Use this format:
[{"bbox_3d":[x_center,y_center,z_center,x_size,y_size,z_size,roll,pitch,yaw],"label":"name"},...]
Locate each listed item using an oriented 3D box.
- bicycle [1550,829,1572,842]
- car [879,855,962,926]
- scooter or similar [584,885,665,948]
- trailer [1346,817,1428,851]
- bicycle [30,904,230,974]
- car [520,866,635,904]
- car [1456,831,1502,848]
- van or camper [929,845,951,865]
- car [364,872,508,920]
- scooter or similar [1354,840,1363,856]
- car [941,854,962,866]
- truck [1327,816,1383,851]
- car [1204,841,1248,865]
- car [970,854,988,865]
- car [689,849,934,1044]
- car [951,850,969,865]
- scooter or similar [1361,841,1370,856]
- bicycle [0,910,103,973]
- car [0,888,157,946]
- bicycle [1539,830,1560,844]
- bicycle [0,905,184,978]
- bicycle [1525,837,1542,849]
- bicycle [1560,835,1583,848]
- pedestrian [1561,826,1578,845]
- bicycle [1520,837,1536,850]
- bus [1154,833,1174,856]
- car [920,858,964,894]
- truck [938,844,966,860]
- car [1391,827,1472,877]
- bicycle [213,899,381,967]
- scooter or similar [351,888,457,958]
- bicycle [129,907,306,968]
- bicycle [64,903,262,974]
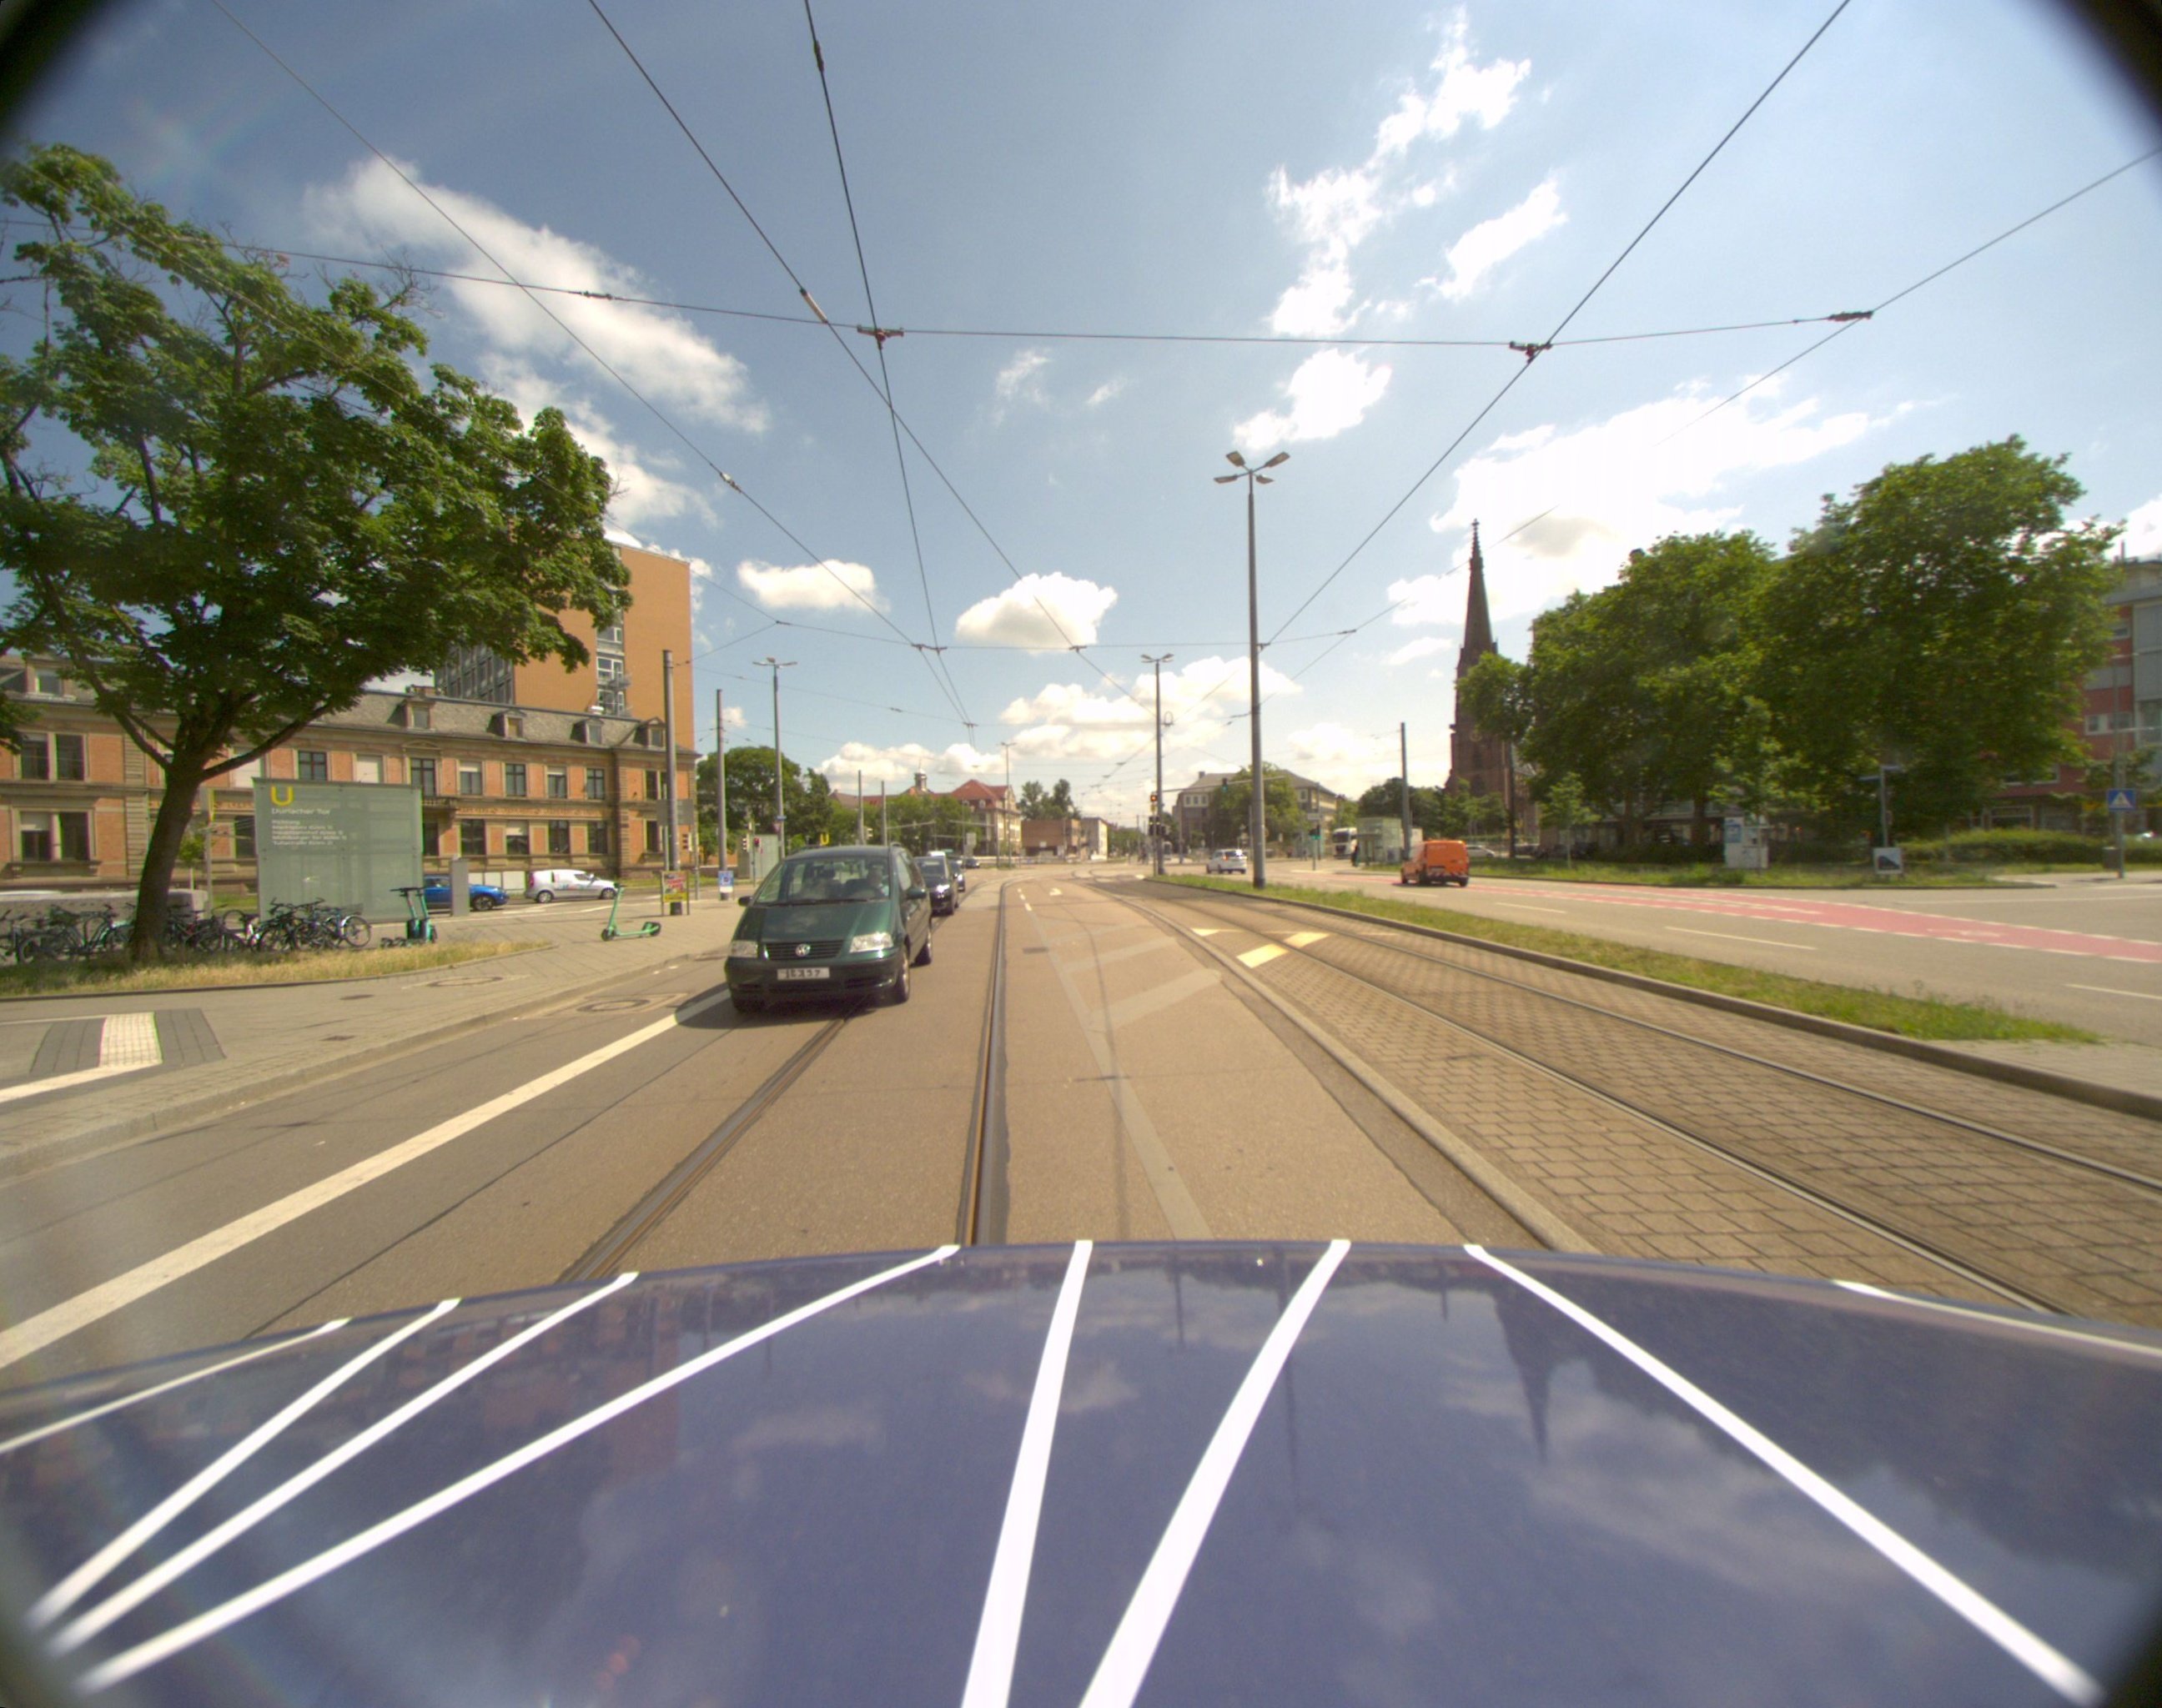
[{"bbox_3d":[42.862,-1.652,67.880,0.494,1.161,1.598,-4,1,-36],"label":"bicycle"},{"bbox_3d":[-4.412,0.919,21.472,1.874,1.607,4.423,-4,1,-8],"label":"car"},{"bbox_3d":[-9.293,1.253,15.510,0.950,1.173,1.086,-1,1,1],"label":"scooter or similar"},{"bbox_3d":[38.859,-2.601,96.229,13.443,4.053,2.941,-2,1,-36],"label":"trailer"},{"bbox_3d":[-18.730,1.628,15.106,0.794,1.047,2.572,-1,1,-3],"label":"bicycle"},{"bbox_3d":[-24.951,1.495,37.749,4.435,1.578,1.869,-3,1,-44],"label":"car"},{"bbox_3d":[43.507,-1.584,83.158,4.165,1.633,1.631,-2,1,13],"label":"car"},{"bbox_3d":[-19.596,0.131,105.127,2.235,2.719,5.513,-2,1,-18],"label":"van or camper"},{"bbox_3d":[-26.769,1.686,31.649,4.435,1.542,1.868,-3,3,-43],"label":"car"},{"bbox_3d":[20.842,-0.479,57.052,0.462,1.193,0.549,-2,1,-6],"label":"scooter or similar"},{"bbox_3d":[-16.388,0.724,96.115,1.903,1.455,4.254,-3,1,-18],"label":"car"},{"bbox_3d":[33.304,-2.454,92.160,6.890,4.095,2.956,-2,1,-36],"label":"truck"},{"bbox_3d":[9.906,-0.076,52.254,1.772,1.594,4.490,-1,1,-6],"label":"car"},{"bbox_3d":[-13.277,0.696,99.052,1.673,1.368,3.910,-2,0,-17],"label":"car"},{"bbox_3d":[-2.934,0.854,9.249,1.820,1.708,4.082,-4,1,-6],"label":"car"},{"bbox_3d":[-16.954,0.543,106.053,1.817,2.002,3.993,-2,1,-19],"label":"car"},{"bbox_3d":[21.409,-0.439,57.251,0.416,1.118,0.556,-2,1,-6],"label":"scooter or similar"},{"bbox_3d":[-20.440,1.694,14.286,0.794,1.047,2.572,-1,1,-3],"label":"bicycle"},{"bbox_3d":[-33.526,2.045,24.770,4.003,1.557,1.934,-3,1,-42],"label":"car"},{"bbox_3d":[44.227,-1.626,71.738,0.494,1.257,1.598,-4,1,-36],"label":"bicycle"},{"bbox_3d":[-19.566,1.669,14.959,0.794,1.084,2.572,-1,1,-3],"label":"bicycle"},{"bbox_3d":[44.205,-1.059,74.253,0.460,1.139,1.270,-3,0,-40],"label":"bicycle"},{"bbox_3d":[41.561,-1.028,64.381,0.494,1.060,1.598,-3,1,-36],"label":"bicycle"},{"bbox_3d":[40.185,-1.512,62.539,0.725,1.551,0.878,-3,1,-28],"label":"pedestrian"},{"bbox_3d":[43.180,-1.020,73.408,0.460,1.139,1.270,-3,0,-40],"label":"bicycle"},{"bbox_3d":[13.355,-1.531,122.957,2.948,3.427,7.950,-2,0,6],"label":"bus"},{"bbox_3d":[-6.662,0.980,36.112,1.875,1.477,4.421,-3,1,-12],"label":"car"},{"bbox_3d":[-25.713,-0.411,151.454,3.360,2.981,8.717,-3,1,-24],"label":"truck"},{"bbox_3d":[14.090,-0.088,30.811,1.914,1.855,4.370,-1,1,10],"label":"car"},{"bbox_3d":[-15.518,1.527,15.172,1.027,1.075,2.262,-1,1,-3],"label":"bicycle"},{"bbox_3d":[-13.321,1.331,15.012,0.951,1.196,1.388,-2,1,-12],"label":"scooter or similar"},{"bbox_3d":[-16.584,1.573,14.711,0.844,0.875,2.287,-1,1,-3],"label":"bicycle"},{"bbox_3d":[-17.836,1.597,14.904,0.794,1.064,2.572,-1,1,-3],"label":"bicycle"}]
